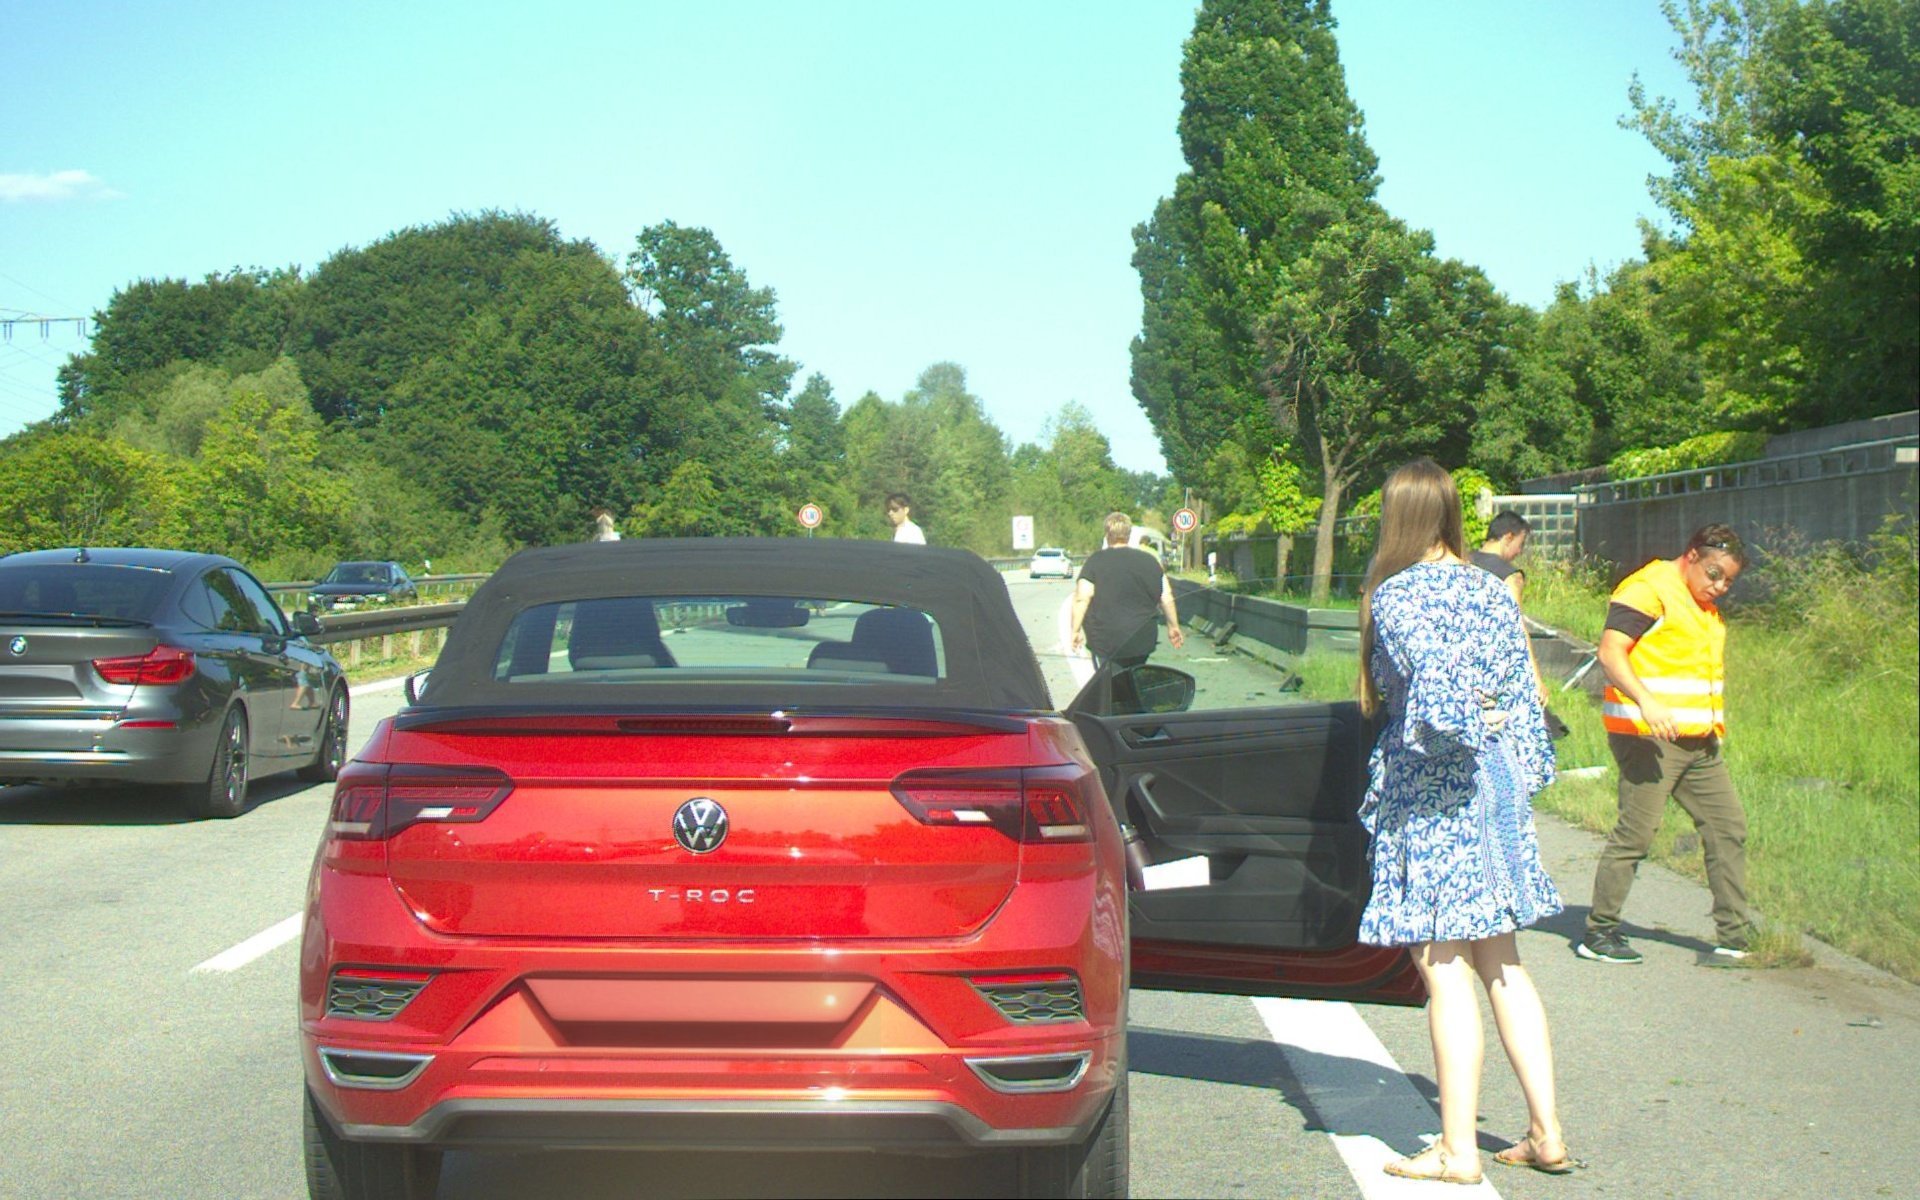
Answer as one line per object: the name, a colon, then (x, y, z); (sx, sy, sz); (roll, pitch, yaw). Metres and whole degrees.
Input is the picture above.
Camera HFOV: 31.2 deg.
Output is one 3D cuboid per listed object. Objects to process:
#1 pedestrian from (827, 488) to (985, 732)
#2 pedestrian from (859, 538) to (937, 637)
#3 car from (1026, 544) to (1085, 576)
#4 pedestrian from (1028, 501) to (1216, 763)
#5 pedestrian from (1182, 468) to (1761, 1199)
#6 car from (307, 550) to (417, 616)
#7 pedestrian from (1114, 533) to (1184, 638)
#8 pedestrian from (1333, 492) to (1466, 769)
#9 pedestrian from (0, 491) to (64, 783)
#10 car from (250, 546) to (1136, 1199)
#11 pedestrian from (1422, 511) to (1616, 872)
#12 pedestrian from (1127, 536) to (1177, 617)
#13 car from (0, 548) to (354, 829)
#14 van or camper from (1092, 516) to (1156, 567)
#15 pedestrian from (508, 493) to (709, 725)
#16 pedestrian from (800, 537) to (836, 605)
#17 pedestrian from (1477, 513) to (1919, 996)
pedestrian: (-0.449, 0.066, 27.663); (1.105, 1.906, 1.257); (-1, 1, -7)
pedestrian: (-1.070, -0.213, 59.512); (0.971, 1.683, 1.116); (1, 0, 22)
car: (4.511, -1.889, 162.107); (1.734, 1.482, 4.207); (1, 1, 17)
pedestrian: (1.187, 0.220, 25.448); (1.089, 1.876, 1.069); (-1, 1, -15)
pedestrian: (1.187, 0.548, 8.171); (0.889, 1.689, 1.129); (-1, 1, -22)
car: (-13.582, -0.402, 78.264); (1.712, 1.420, 4.407); (1, 1, 0)
pedestrian: (3.081, -0.242, 55.984); (1.056, 1.683, 1.017); (1, 0, 7)
pedestrian: (2.847, 0.189, 22.276); (0.812, 1.753, 0.828); (1, 0, 7)
pedestrian: (-6.251, 0.221, 21.284); (1.041, 1.757, 1.118); (-1, 1, 3)
car: (-0.519, 0.617, 8.873); (1.732, 1.482, 4.210); (1, 1, 0)
pedestrian: (2.734, 0.435, 16.895); (0.895, 1.719, 0.754); (1, 0, 8)
pedestrian: (4.019, -0.492, 71.902); (0.996, 1.683, 1.010); (1, 0, 4)
car: (-4.757, 0.422, 19.925); (1.694, 1.421, 4.334); (1, 1, 0)
van or camper: (7.693, -2.709, 160.963); (1.995, 2.308, 4.467); (1, 1, 16)
pedestrian: (-2.769, 0.060, 27.094); (1.106, 1.782, 1.089); (1, 1, 39)
pedestrian: (-3.559, -0.738, 86.102); (0.792, 1.683, 0.792); (1, 0, 5)
pedestrian: (2.682, 0.519, 12.581); (0.957, 1.648, 1.278); (-1, 1, -29)
